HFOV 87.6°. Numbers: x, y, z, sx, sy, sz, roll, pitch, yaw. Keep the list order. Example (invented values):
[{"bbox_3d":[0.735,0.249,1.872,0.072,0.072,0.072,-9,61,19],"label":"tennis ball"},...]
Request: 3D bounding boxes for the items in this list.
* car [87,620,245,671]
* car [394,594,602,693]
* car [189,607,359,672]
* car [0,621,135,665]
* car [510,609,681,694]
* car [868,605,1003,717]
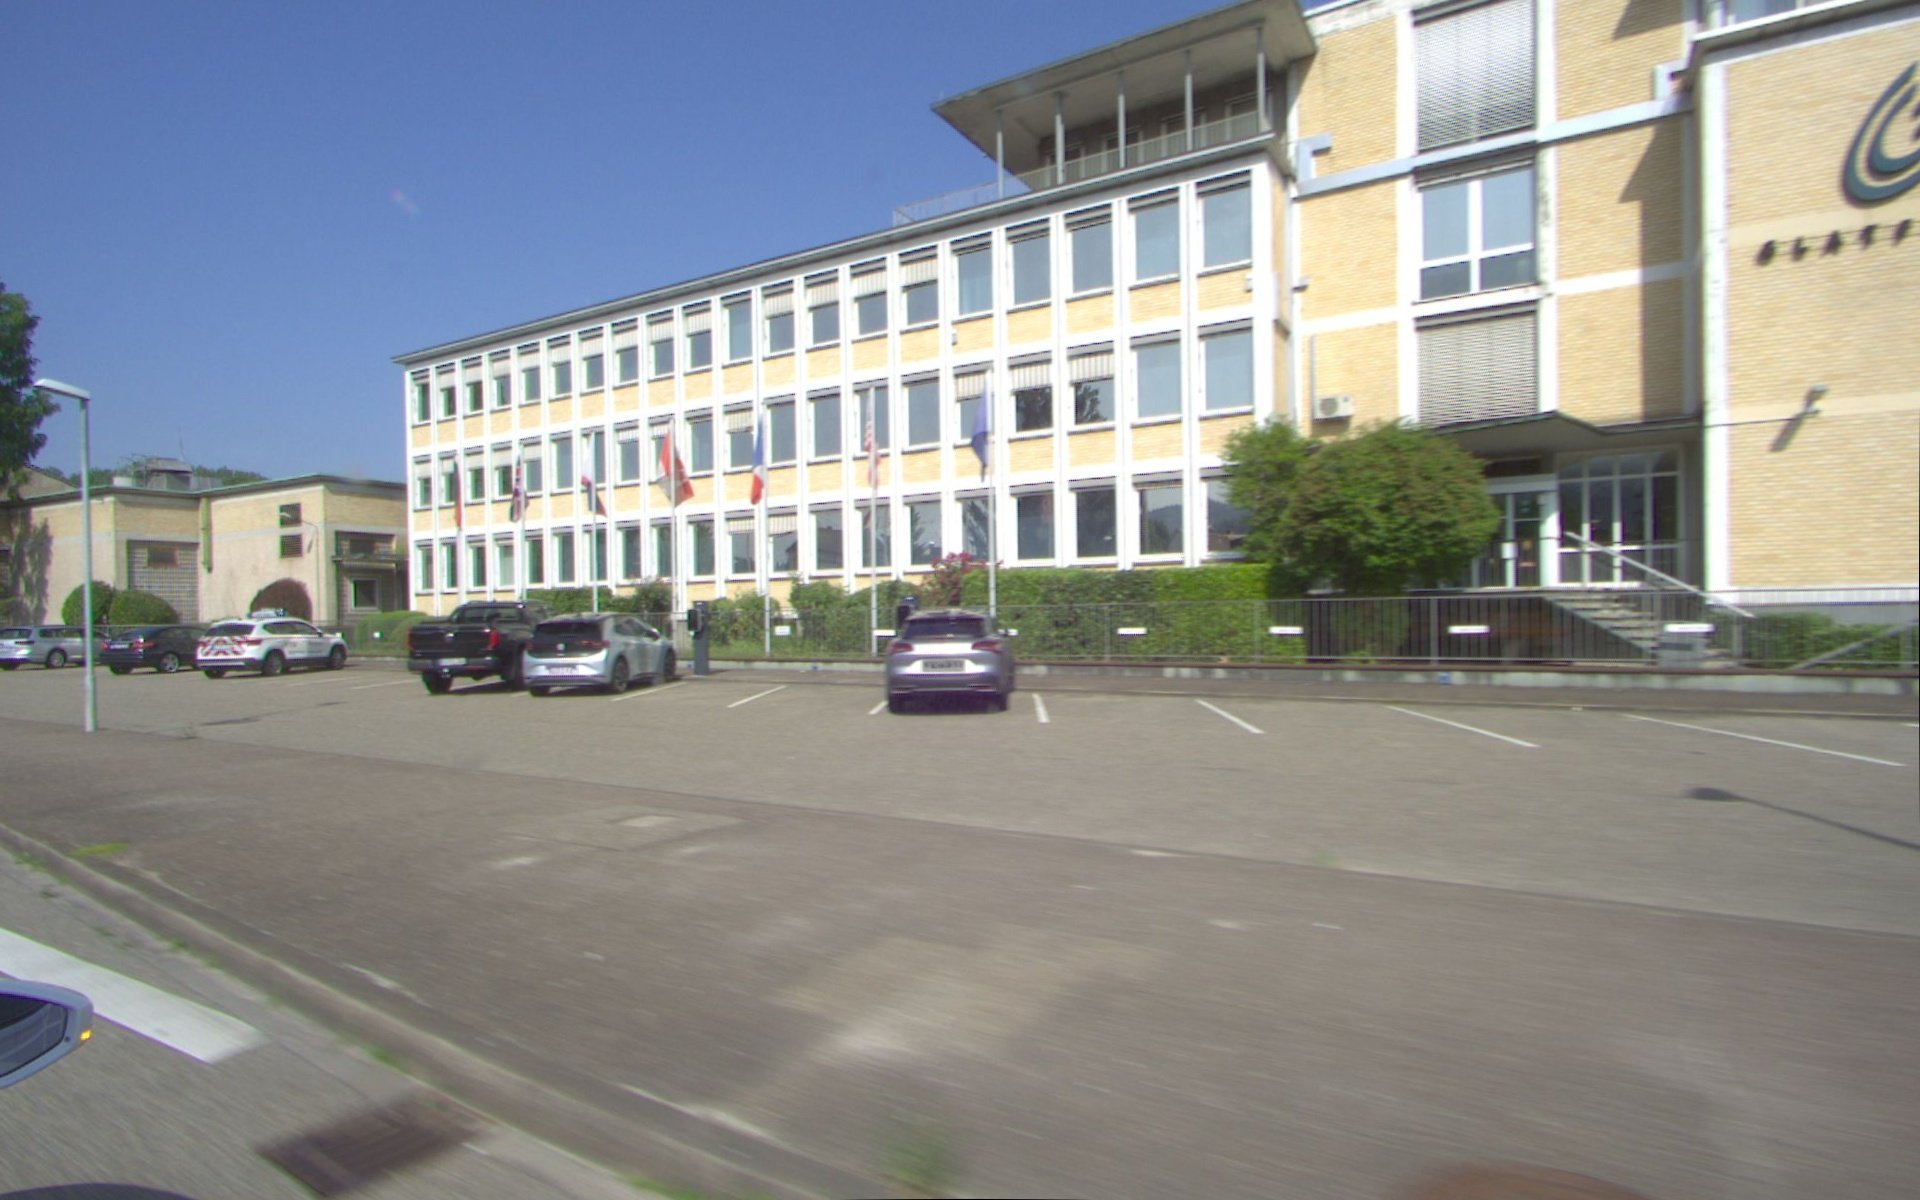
[{"bbox_3d":[-24.095,1.335,30.586,1.631,1.419,4.000,0,-1,0],"label":"car"},{"bbox_3d":[-9.654,0.842,21.470,1.944,1.856,5.036,-1,0,2],"label":"car"},{"bbox_3d":[-19.191,1.068,28.271,1.833,1.694,4.174,0,-1,2],"label":"car"},{"bbox_3d":[-31.089,1.456,34.717,1.631,1.419,4.000,0,-1,0],"label":"car"},{"bbox_3d":[-7.201,0.953,20.240,1.849,1.524,4.000,-1,0,2],"label":"car"},{"bbox_3d":[-0.246,0.856,15.915,1.849,1.524,4.311,-1,0,2],"label":"car"}]
